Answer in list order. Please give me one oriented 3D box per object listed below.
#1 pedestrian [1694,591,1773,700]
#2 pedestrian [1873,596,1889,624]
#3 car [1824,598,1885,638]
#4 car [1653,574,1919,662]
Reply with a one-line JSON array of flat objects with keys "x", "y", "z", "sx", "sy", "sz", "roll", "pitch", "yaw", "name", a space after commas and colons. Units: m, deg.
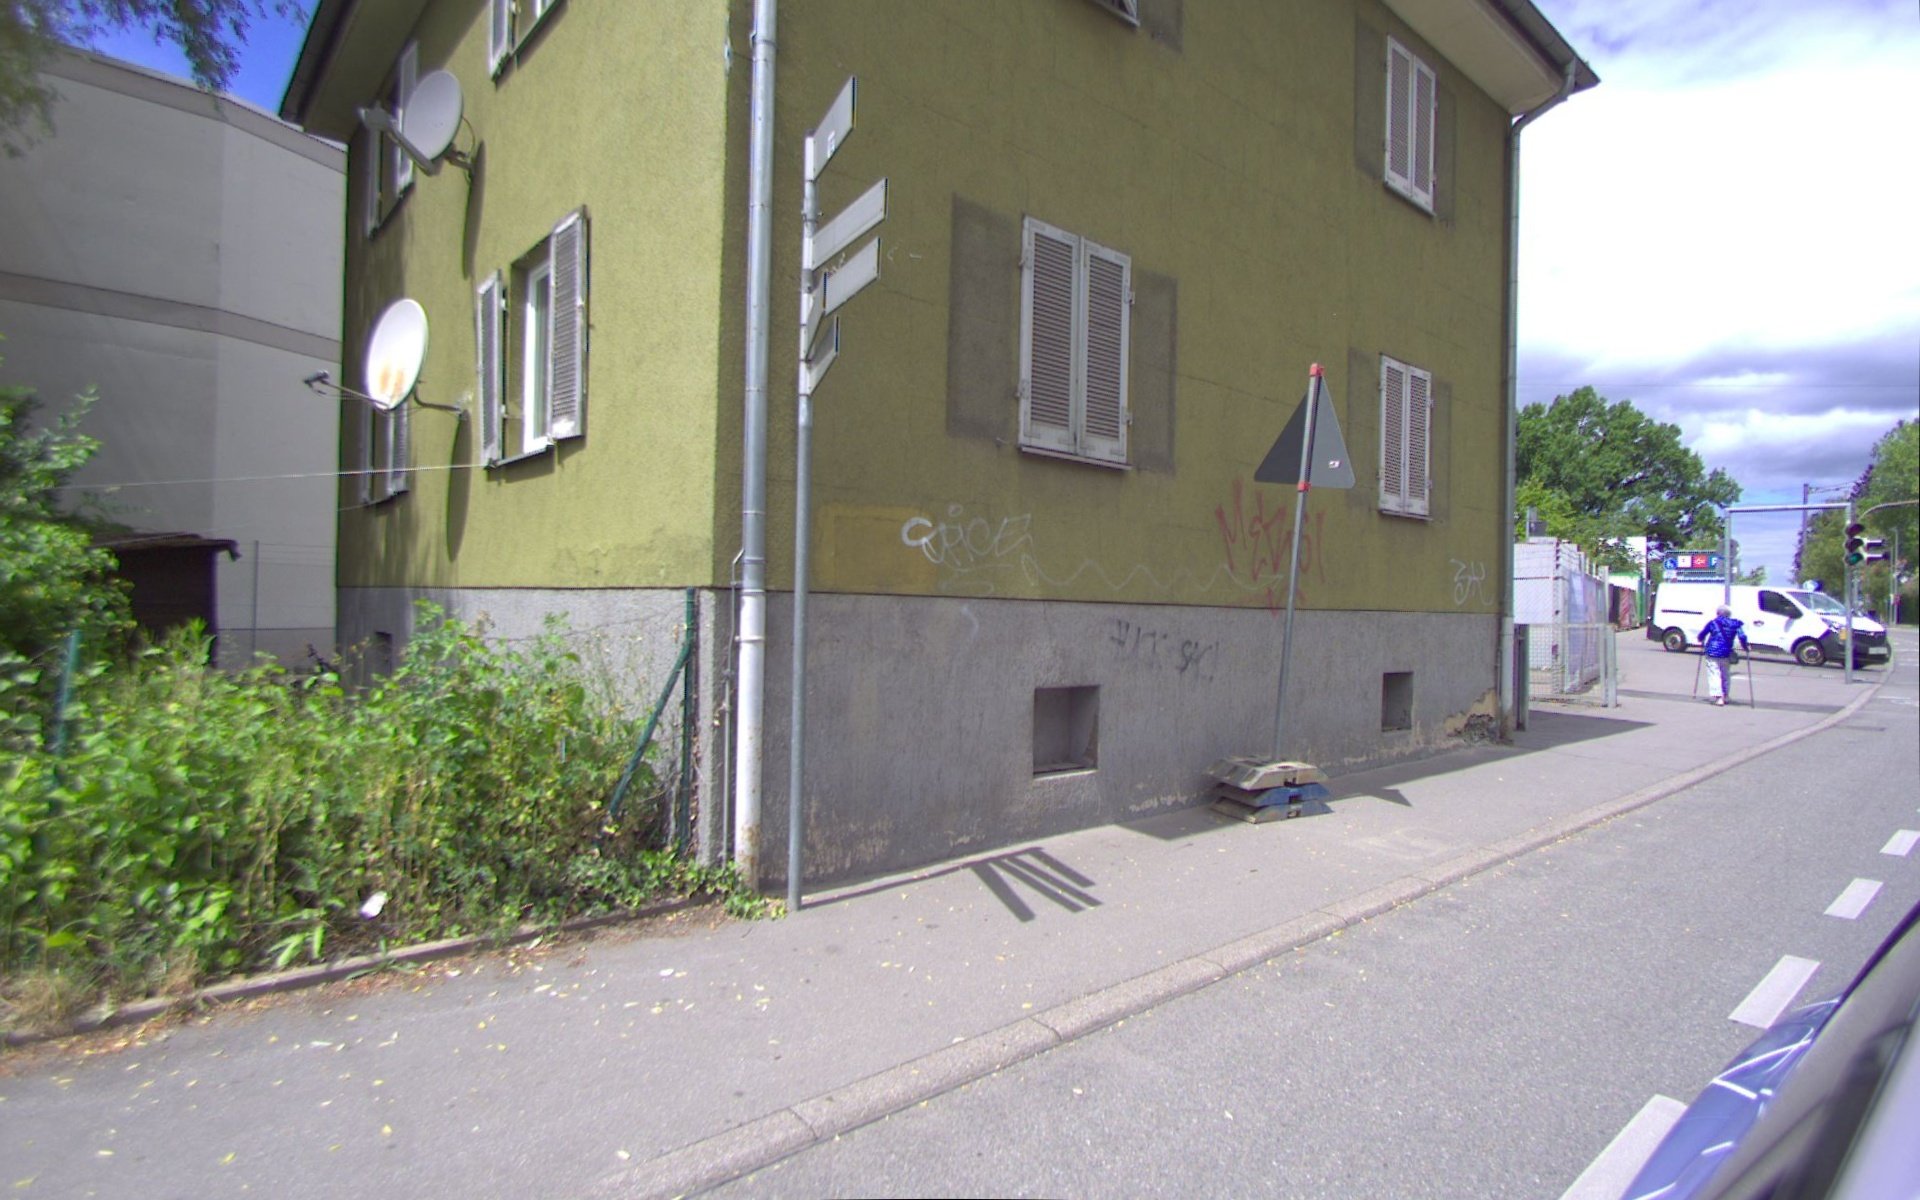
[{"x": 11.945, "y": 0.669, "z": 15.631, "sx": 0.824, "sy": 1.592, "sz": 0.972, "roll": 2, "pitch": 1, "yaw": 44, "name": "pedestrian"}, {"x": 57.282, "y": 0.634, "z": 62.951, "sx": 0.546, "sy": 1.694, "sz": 0.584, "roll": -1, "pitch": -1, "yaw": 20, "name": "pedestrian"}, {"x": 39.097, "y": 0.761, "z": 44.316, "sx": 1.788, "sy": 1.549, "sz": 3.864, "roll": 4, "pitch": 3, "yaw": 40, "name": "car"}, {"x": 21.409, "y": 0.374, "z": 26.505, "sx": 1.958, "sy": 2.048, "sz": 5.363, "roll": 1, "pitch": 1, "yaw": -15, "name": "car"}]
